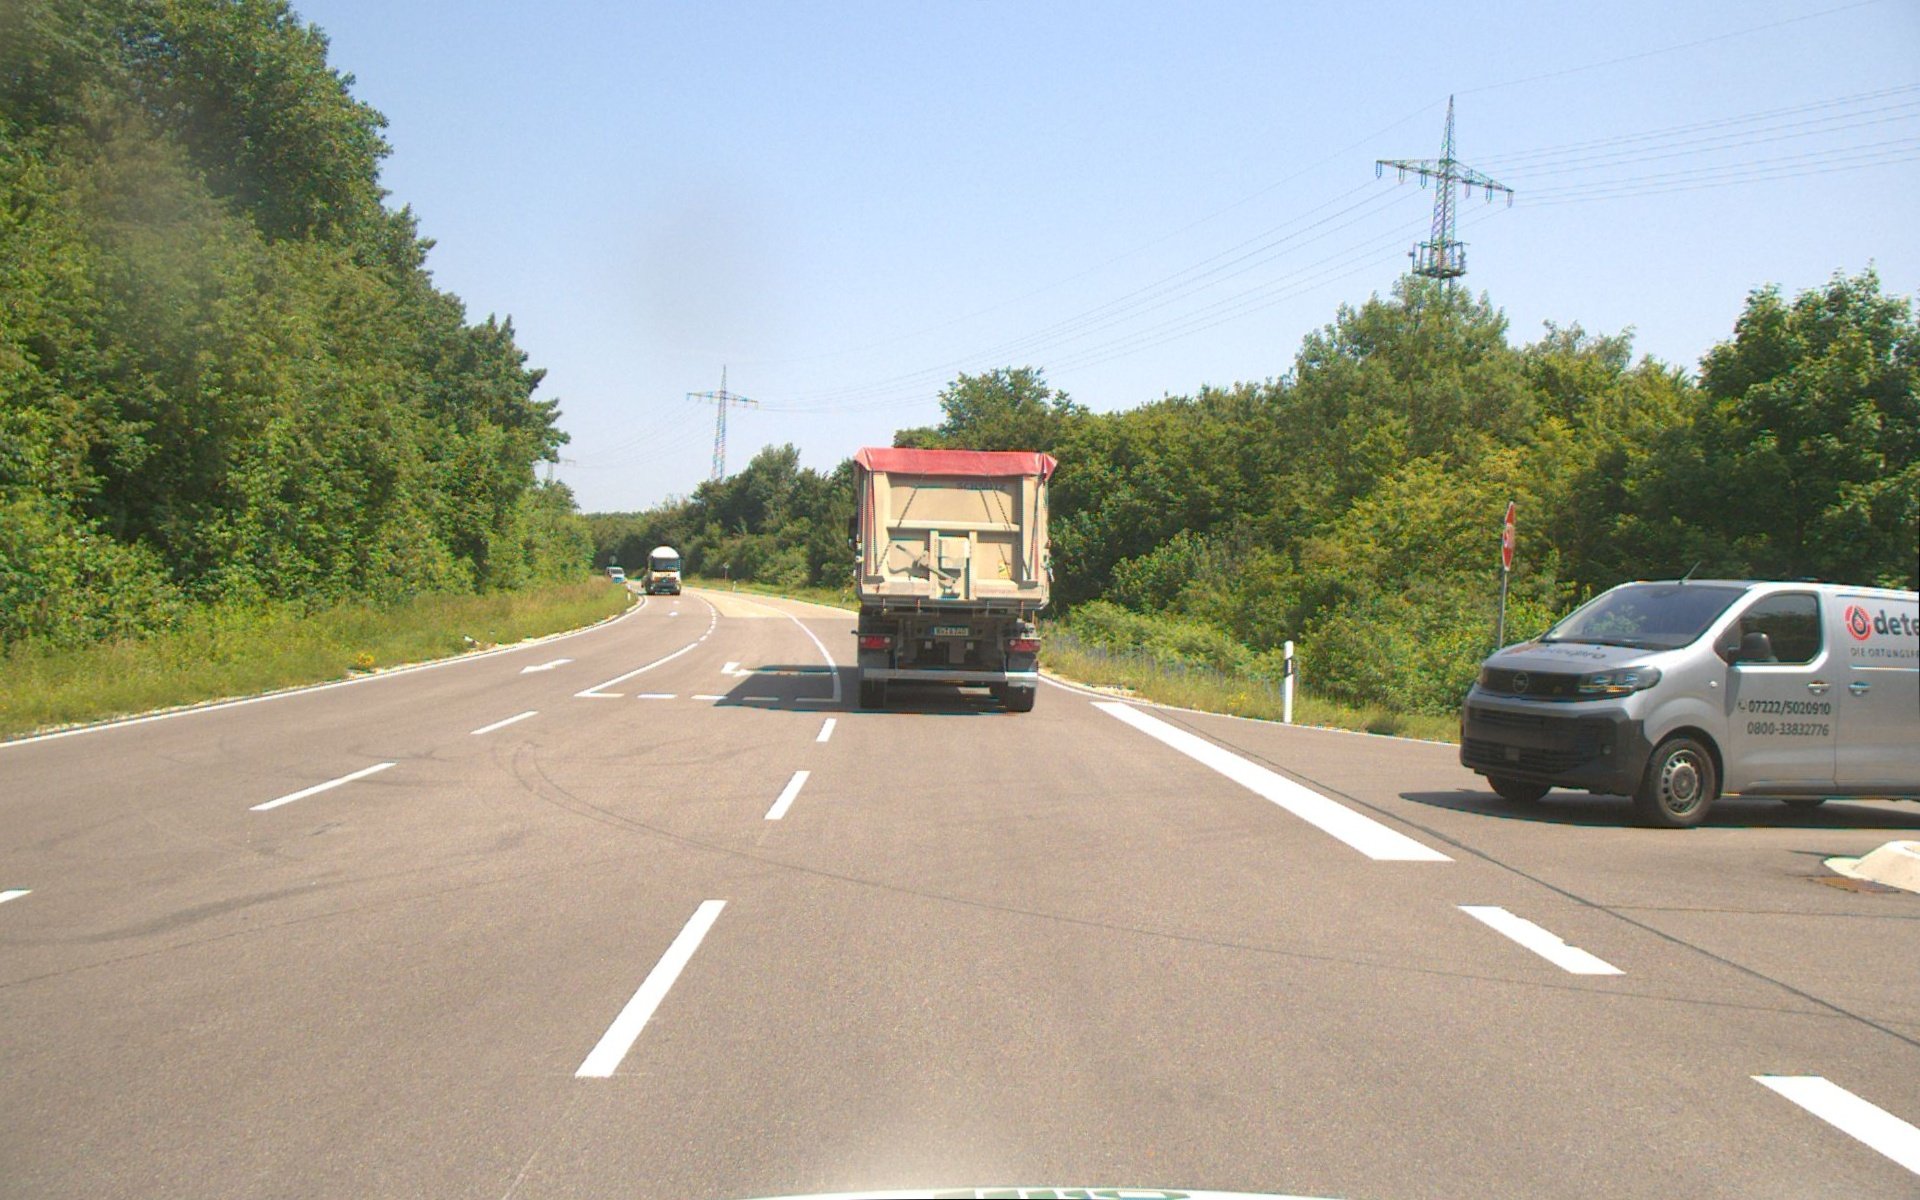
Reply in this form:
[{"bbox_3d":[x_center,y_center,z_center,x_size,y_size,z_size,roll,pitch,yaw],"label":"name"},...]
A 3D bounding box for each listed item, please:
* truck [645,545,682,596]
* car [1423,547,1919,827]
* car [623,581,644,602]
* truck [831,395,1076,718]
[{"bbox_3d":[-23.108,-2.262,129.129,2.578,3.735,8.778,1,0,-9],"label":"truck"},{"bbox_3d":[6.538,0.750,13.538,5.142,1.940,1.999,4,-1,-23],"label":"car"},{"bbox_3d":[-29.348,-0.741,148.709,1.809,1.810,4.881,1,0,-10],"label":"car"},{"bbox_3d":[-0.533,-0.597,26.859,2.837,4.031,11.919,1,0,-5],"label":"truck"}]
